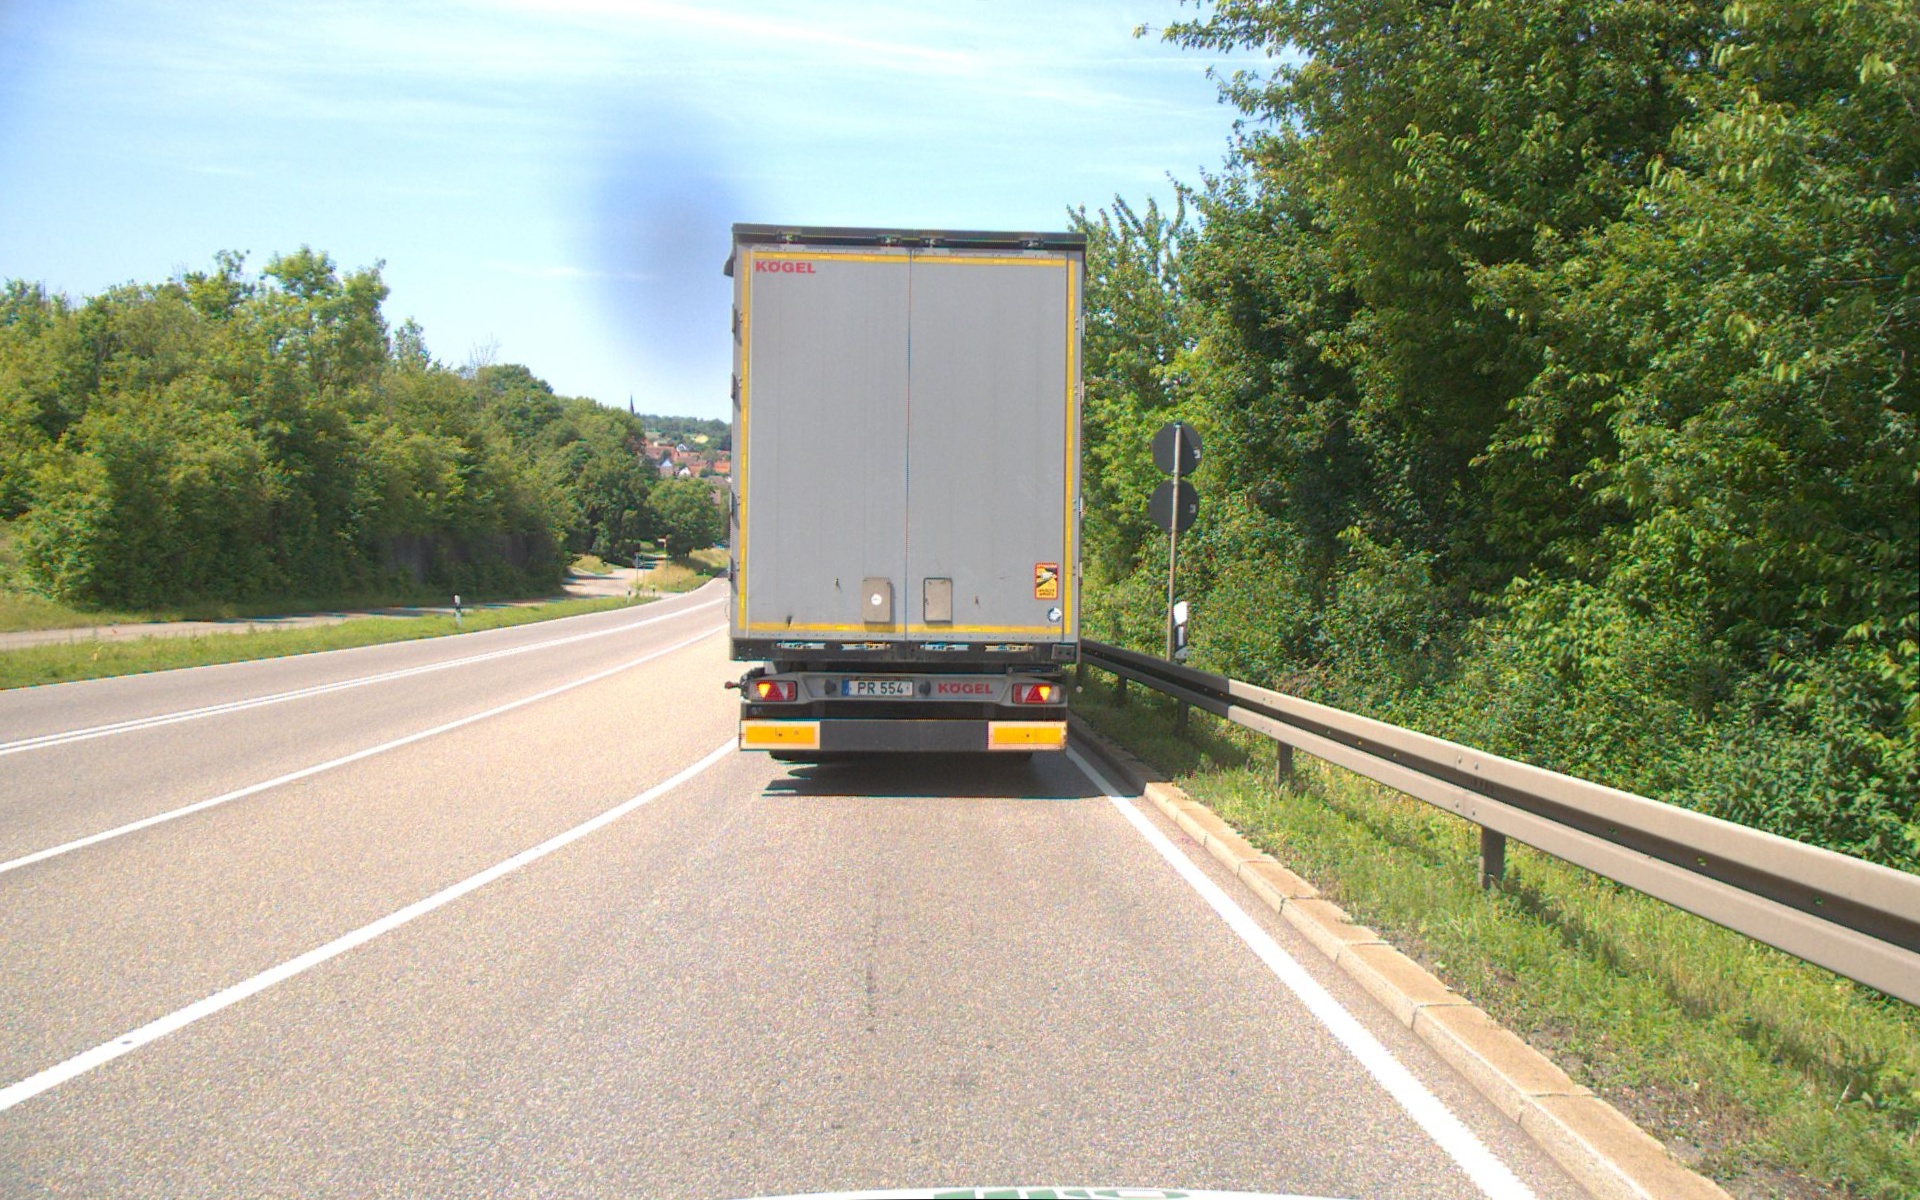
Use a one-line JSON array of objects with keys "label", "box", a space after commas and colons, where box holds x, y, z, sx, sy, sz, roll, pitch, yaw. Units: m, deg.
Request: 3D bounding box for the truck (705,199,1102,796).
[{"label": "truck", "box": [-0.473, -0.759, 17.418, 2.701, 4.100, 11.922, 1, 1, -1]}]
